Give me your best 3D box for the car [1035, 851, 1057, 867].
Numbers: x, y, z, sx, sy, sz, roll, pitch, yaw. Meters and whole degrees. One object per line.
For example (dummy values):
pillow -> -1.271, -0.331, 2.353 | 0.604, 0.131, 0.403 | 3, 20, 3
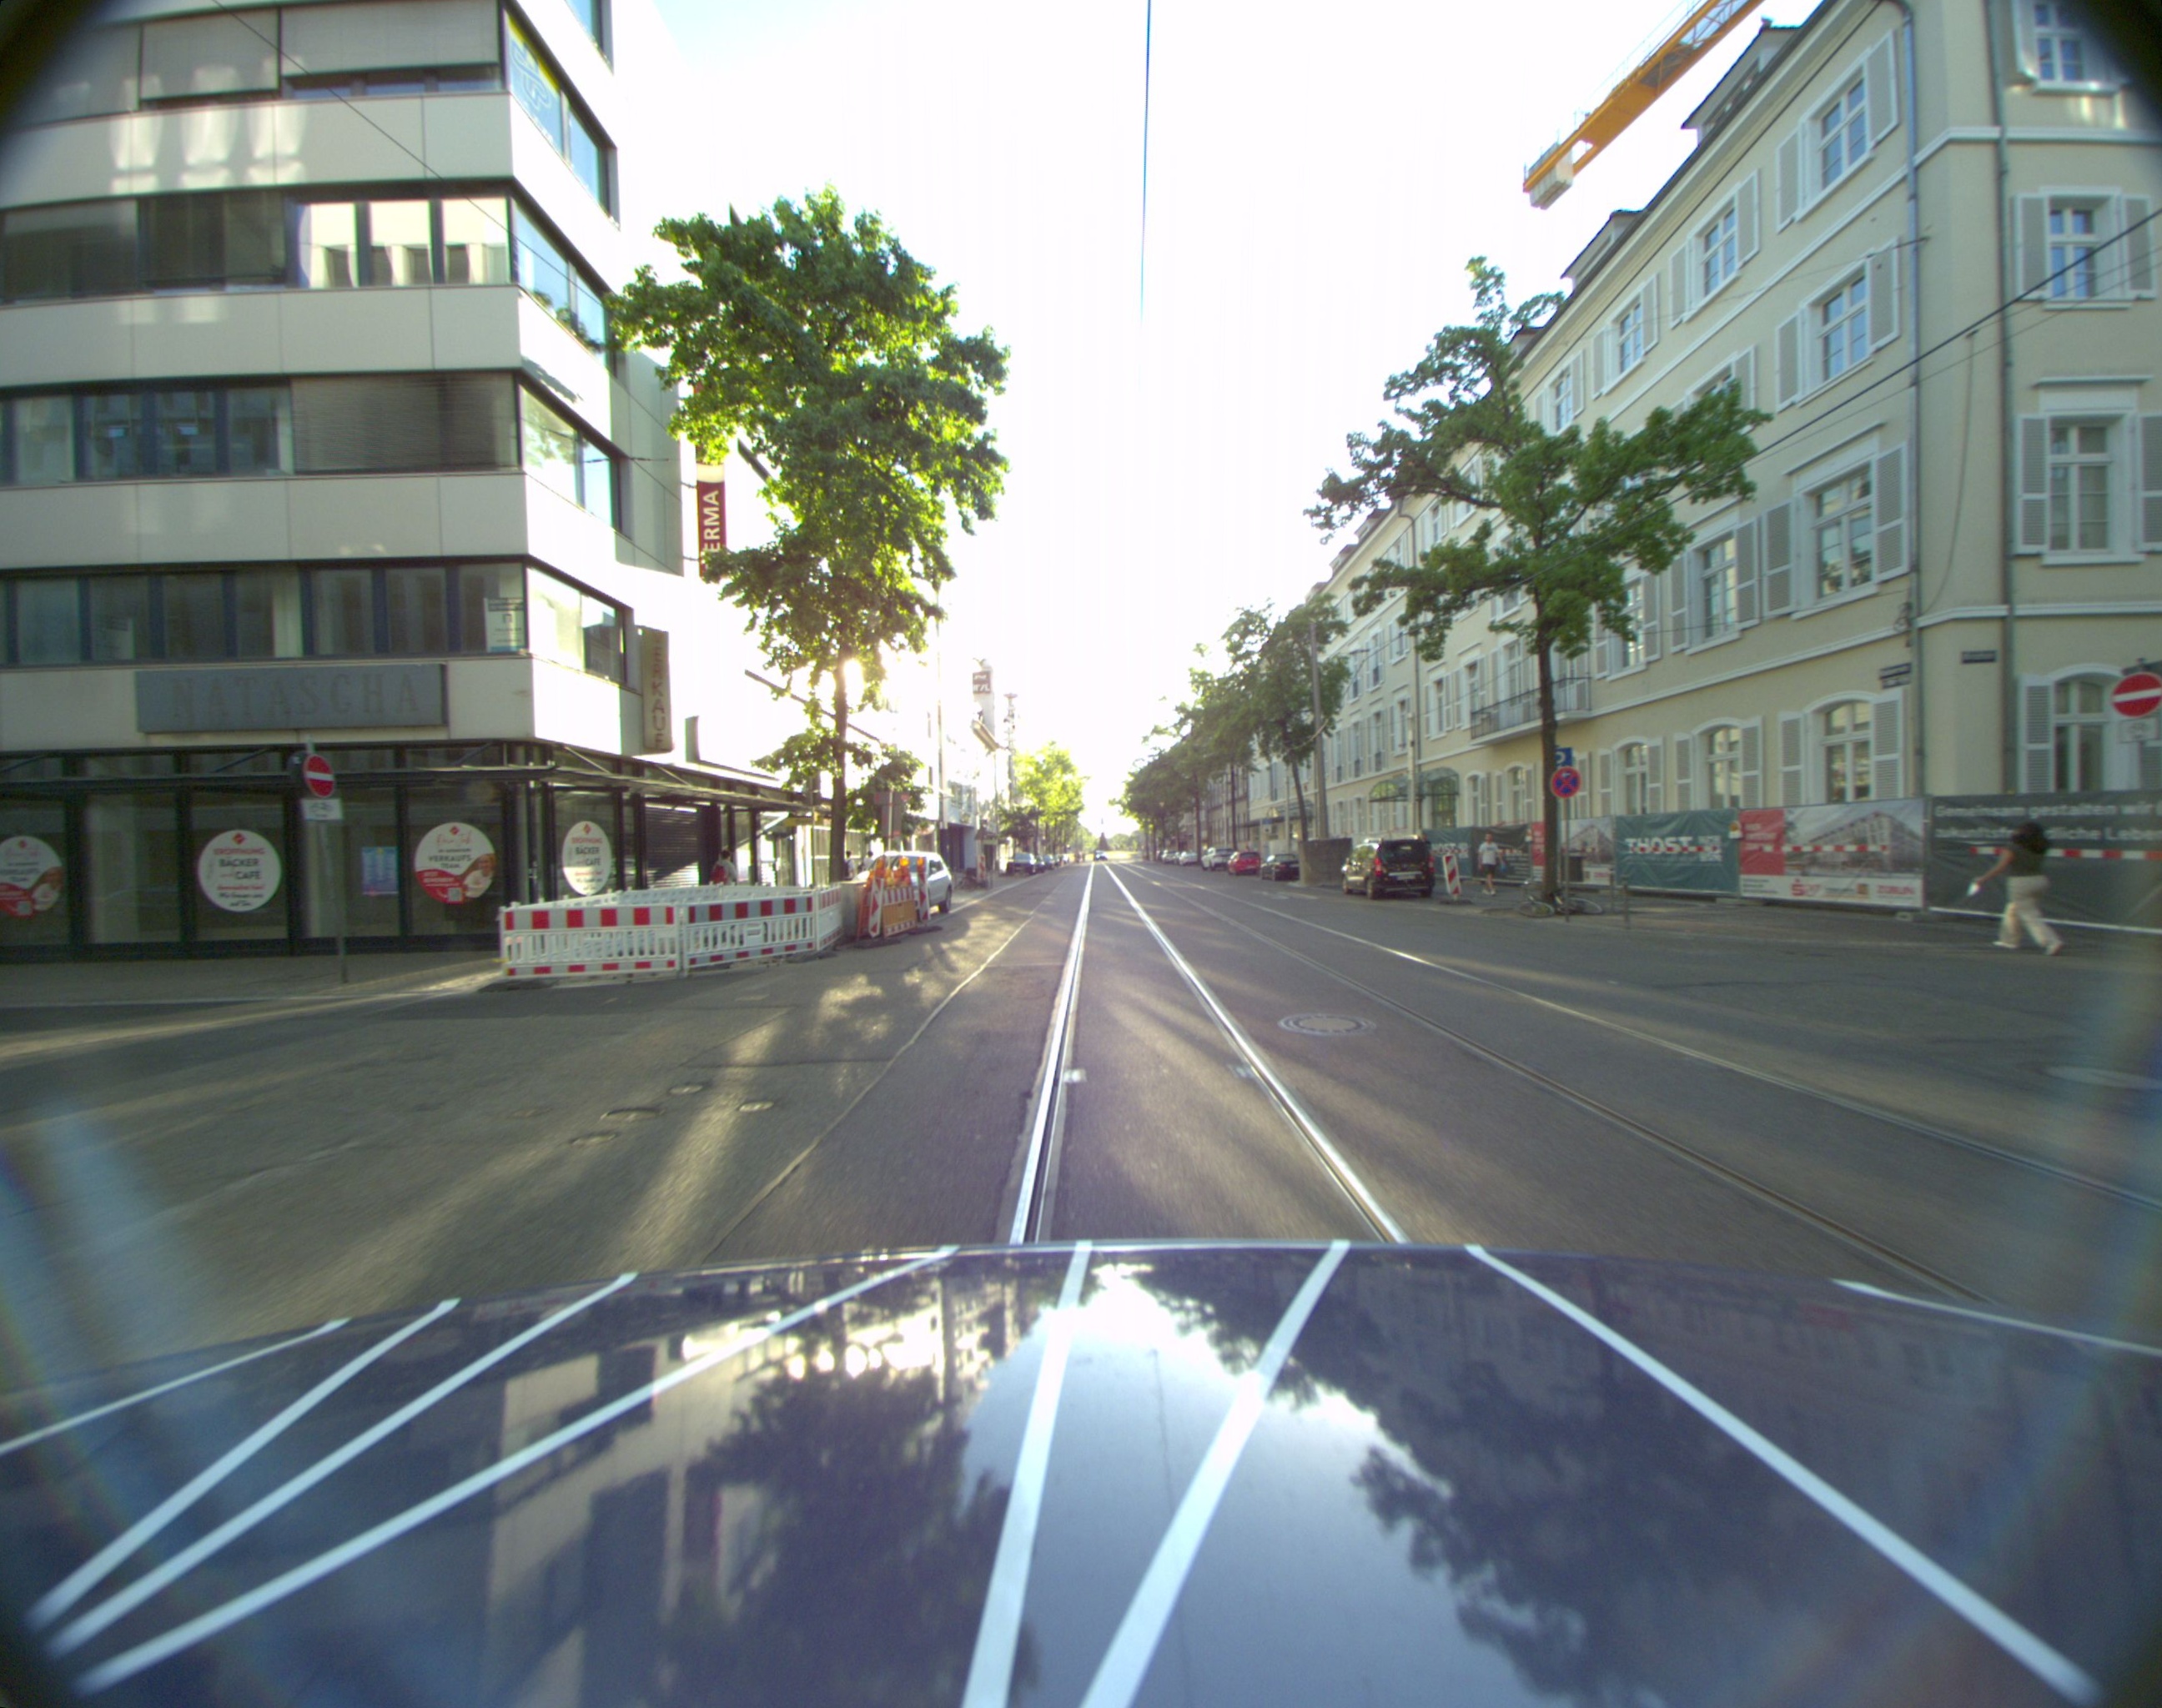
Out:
car -> -3.434, 0.480, 75.050 | 1.770, 1.502, 4.287 | -2, 1, 2

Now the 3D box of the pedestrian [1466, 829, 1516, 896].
pedestrian -> 11.479, 0.221, 21.311 | 0.776, 1.782, 0.984 | -4, 1, 3

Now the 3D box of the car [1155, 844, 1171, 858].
car -> 11.692, -0.464, 108.732 | 1.931, 1.946, 4.765 | -1, 0, 1

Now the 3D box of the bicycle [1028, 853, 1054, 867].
bicycle -> -3.798, 0.573, 71.986 | 2.325, 1.181, 0.751 | -2, 1, 3

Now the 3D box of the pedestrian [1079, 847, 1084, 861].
pedestrian -> 0.090, -0.046, 104.500 | 0.705, 1.858, 0.792 | -2, 1, -1

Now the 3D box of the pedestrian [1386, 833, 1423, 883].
pedestrian -> 12.040, 0.130, 28.299 | 0.867, 1.771, 0.884 | -4, 1, 1

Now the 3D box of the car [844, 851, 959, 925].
car -> -4.768, 0.824, 20.947 | 2.028, 1.727, 4.906 | 1, 1, 0

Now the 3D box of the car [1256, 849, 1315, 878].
car -> 10.020, 0.434, 37.575 | 1.722, 1.238, 4.507 | -4, 1, 1

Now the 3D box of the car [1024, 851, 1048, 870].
car -> -3.912, 0.521, 65.475 | 1.871, 1.502, 4.241 | 1, 1, -7

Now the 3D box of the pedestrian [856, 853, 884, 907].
pedestrian -> -7.237, 0.877, 26.095 | 0.707, 1.820, 0.634 | -2, 1, 1

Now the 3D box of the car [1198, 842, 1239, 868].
car -> 10.077, 0.046, 56.113 | 1.870, 1.679, 4.950 | -4, 1, -2

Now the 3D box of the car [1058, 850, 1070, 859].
car -> -2.562, 0.104, 116.597 | 1.564, 1.391, 3.697 | 1, 1, 1

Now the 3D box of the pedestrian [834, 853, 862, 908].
pedestrian -> -7.959, 0.889, 25.985 | 0.690, 1.820, 0.634 | -2, 1, 1

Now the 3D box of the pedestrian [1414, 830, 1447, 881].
pedestrian -> 12.931, 0.059, 28.108 | 0.721, 1.802, 0.876 | -4, 1, 1

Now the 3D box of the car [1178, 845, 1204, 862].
car -> 10.753, -0.028, 74.472 | 1.897, 1.458, 4.617 | -5, 0, 2

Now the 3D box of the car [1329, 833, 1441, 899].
car -> 9.450, 0.315, 24.040 | 1.862, 1.822, 4.559 | -3, 1, 3

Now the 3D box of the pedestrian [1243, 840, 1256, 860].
pedestrian -> 13.461, -0.332, 60.680 | 0.746, 1.571, 0.933 | -4, 1, 1

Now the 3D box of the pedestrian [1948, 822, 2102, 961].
pedestrian -> 11.818, 0.452, 9.551 | 0.709, 1.646, 0.967 | -1, 0, 3

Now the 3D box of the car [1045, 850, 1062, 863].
car -> -3.316, 0.242, 92.403 | 1.798, 1.502, 3.985 | 1, 1, 1

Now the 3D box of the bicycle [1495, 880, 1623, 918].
bicycle -> 9.690, 0.914, 15.503 | 1.799, 0.605, 1.282 | -3, 0, 4

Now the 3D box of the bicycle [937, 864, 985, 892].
bicycle -> -5.100, 1.014, 32.347 | 1.816, 1.128, 0.841 | 0, 2, 9

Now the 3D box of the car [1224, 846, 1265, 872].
car -> 9.973, 0.281, 46.496 | 1.664, 1.397, 4.141 | -4, 1, 2

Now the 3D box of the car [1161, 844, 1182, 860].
car -> 11.196, -0.274, 93.865 | 1.952, 1.731, 4.765 | -4, 0, 1

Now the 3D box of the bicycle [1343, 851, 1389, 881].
bicycle -> 11.496, 0.485, 30.721 | 0.760, 1.115, 2.045 | -5, 1, -10

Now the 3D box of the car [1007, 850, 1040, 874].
car -> -4.329, 0.571, 57.629 | 1.985, 1.679, 4.873 | 1, 1, 1

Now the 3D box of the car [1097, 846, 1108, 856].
car -> 3.826, -0.534, 135.792 | 1.827, 1.603, 3.796 | -1, 1, 2

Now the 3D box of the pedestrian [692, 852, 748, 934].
pedestrian -> -8.522, 0.897, 17.975 | 0.835, 1.886, 0.918 | 0, 1, 4
